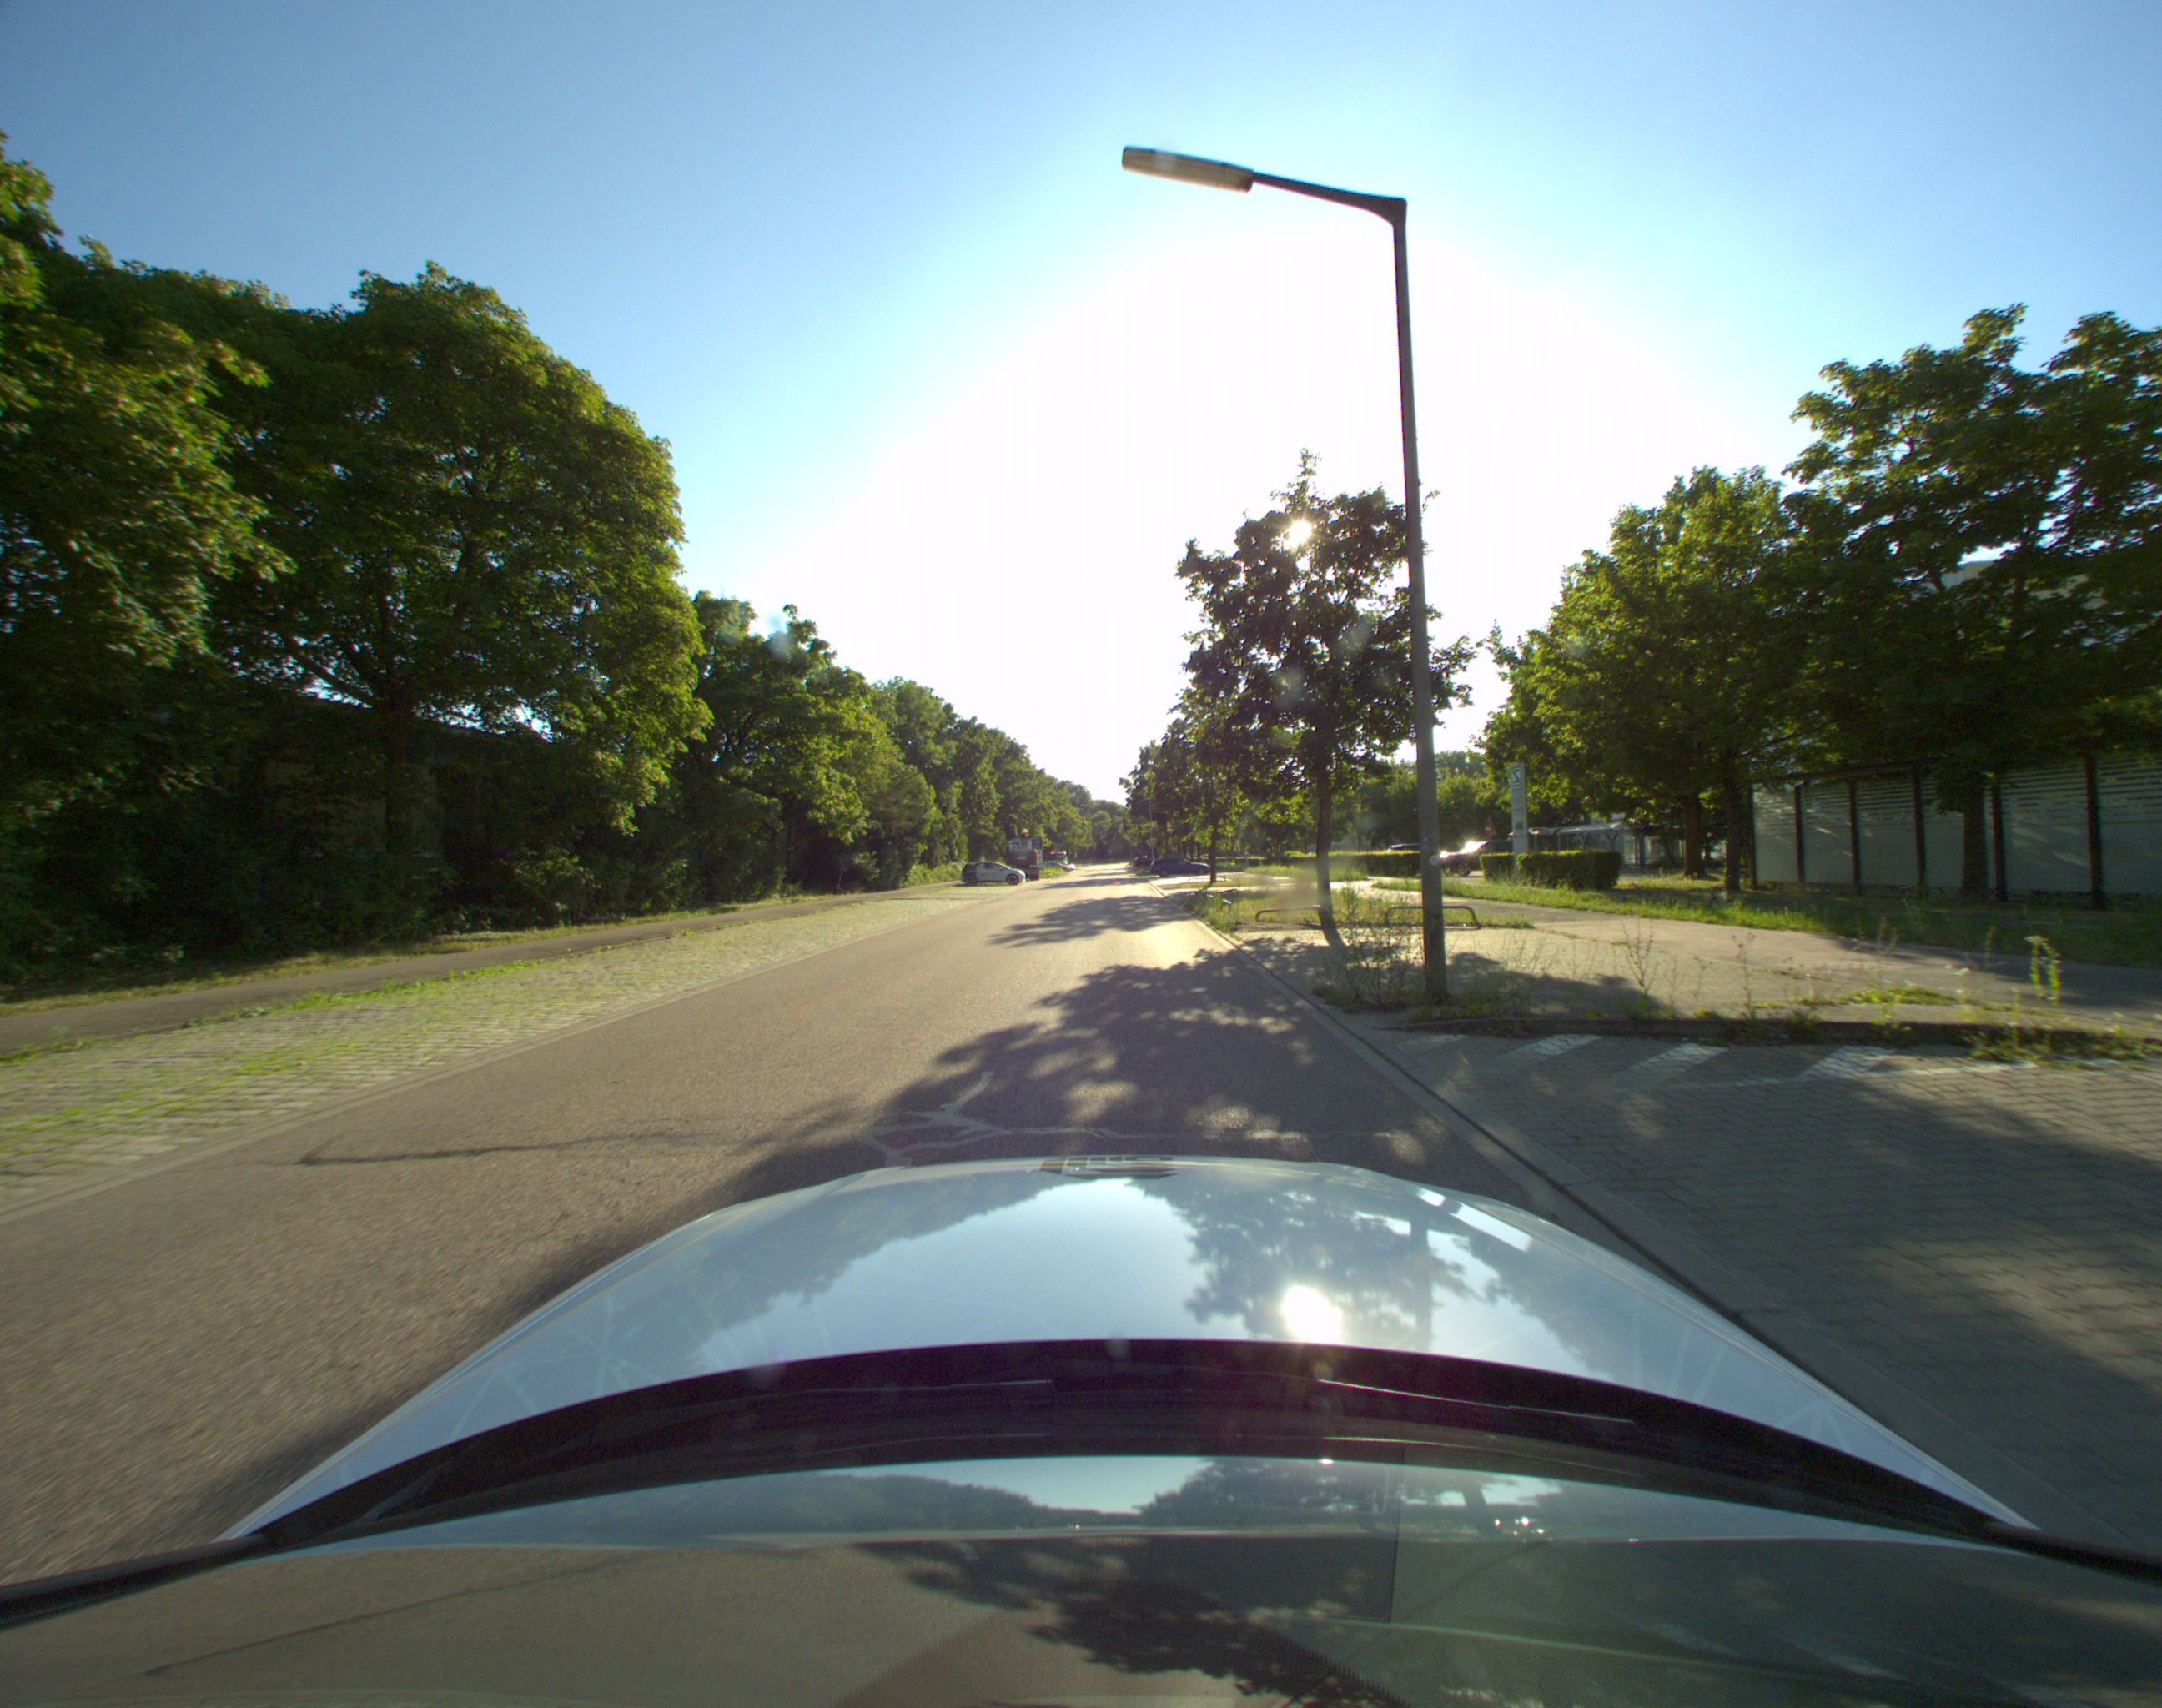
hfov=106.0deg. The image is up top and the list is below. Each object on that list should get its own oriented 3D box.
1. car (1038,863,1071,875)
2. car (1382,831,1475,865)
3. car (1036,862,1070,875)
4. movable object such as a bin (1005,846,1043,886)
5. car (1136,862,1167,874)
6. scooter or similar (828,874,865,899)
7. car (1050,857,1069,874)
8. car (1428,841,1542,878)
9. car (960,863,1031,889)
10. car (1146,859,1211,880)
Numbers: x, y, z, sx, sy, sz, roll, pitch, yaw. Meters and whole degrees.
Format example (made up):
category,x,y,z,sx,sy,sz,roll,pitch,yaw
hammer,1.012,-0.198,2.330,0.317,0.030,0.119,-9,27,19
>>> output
category,x,y,z,sx,sy,sz,roll,pitch,yaw
car,-3.600,2.048,109.433,4.351,1.479,1.997,-2,-1,-5
car,19.278,-0.342,45.324,4.340,1.706,2.002,-2,0,3
car,-3.734,1.919,106.738,4.351,1.479,1.997,-2,-1,-5
movable object such as a bin,-4.636,0.971,66.638,2.831,3.069,4.922,-2,-1,-2
car,10.240,2.037,118.889,4.342,1.729,2.000,0,-1,1
scooter or similar,-11.297,1.565,39.272,0.570,1.145,1.594,-3,-1,42
car,-3.094,1.642,116.197,2.512,2.386,4.365,-2,-1,-5
car,19.126,0.243,38.664,4.414,1.706,2.059,0,-1,1
car,-5.609,1.431,53.944,4.341,1.547,2.001,2,0,3
car,7.520,1.177,62.962,4.822,1.479,2.001,-2,-1,2
